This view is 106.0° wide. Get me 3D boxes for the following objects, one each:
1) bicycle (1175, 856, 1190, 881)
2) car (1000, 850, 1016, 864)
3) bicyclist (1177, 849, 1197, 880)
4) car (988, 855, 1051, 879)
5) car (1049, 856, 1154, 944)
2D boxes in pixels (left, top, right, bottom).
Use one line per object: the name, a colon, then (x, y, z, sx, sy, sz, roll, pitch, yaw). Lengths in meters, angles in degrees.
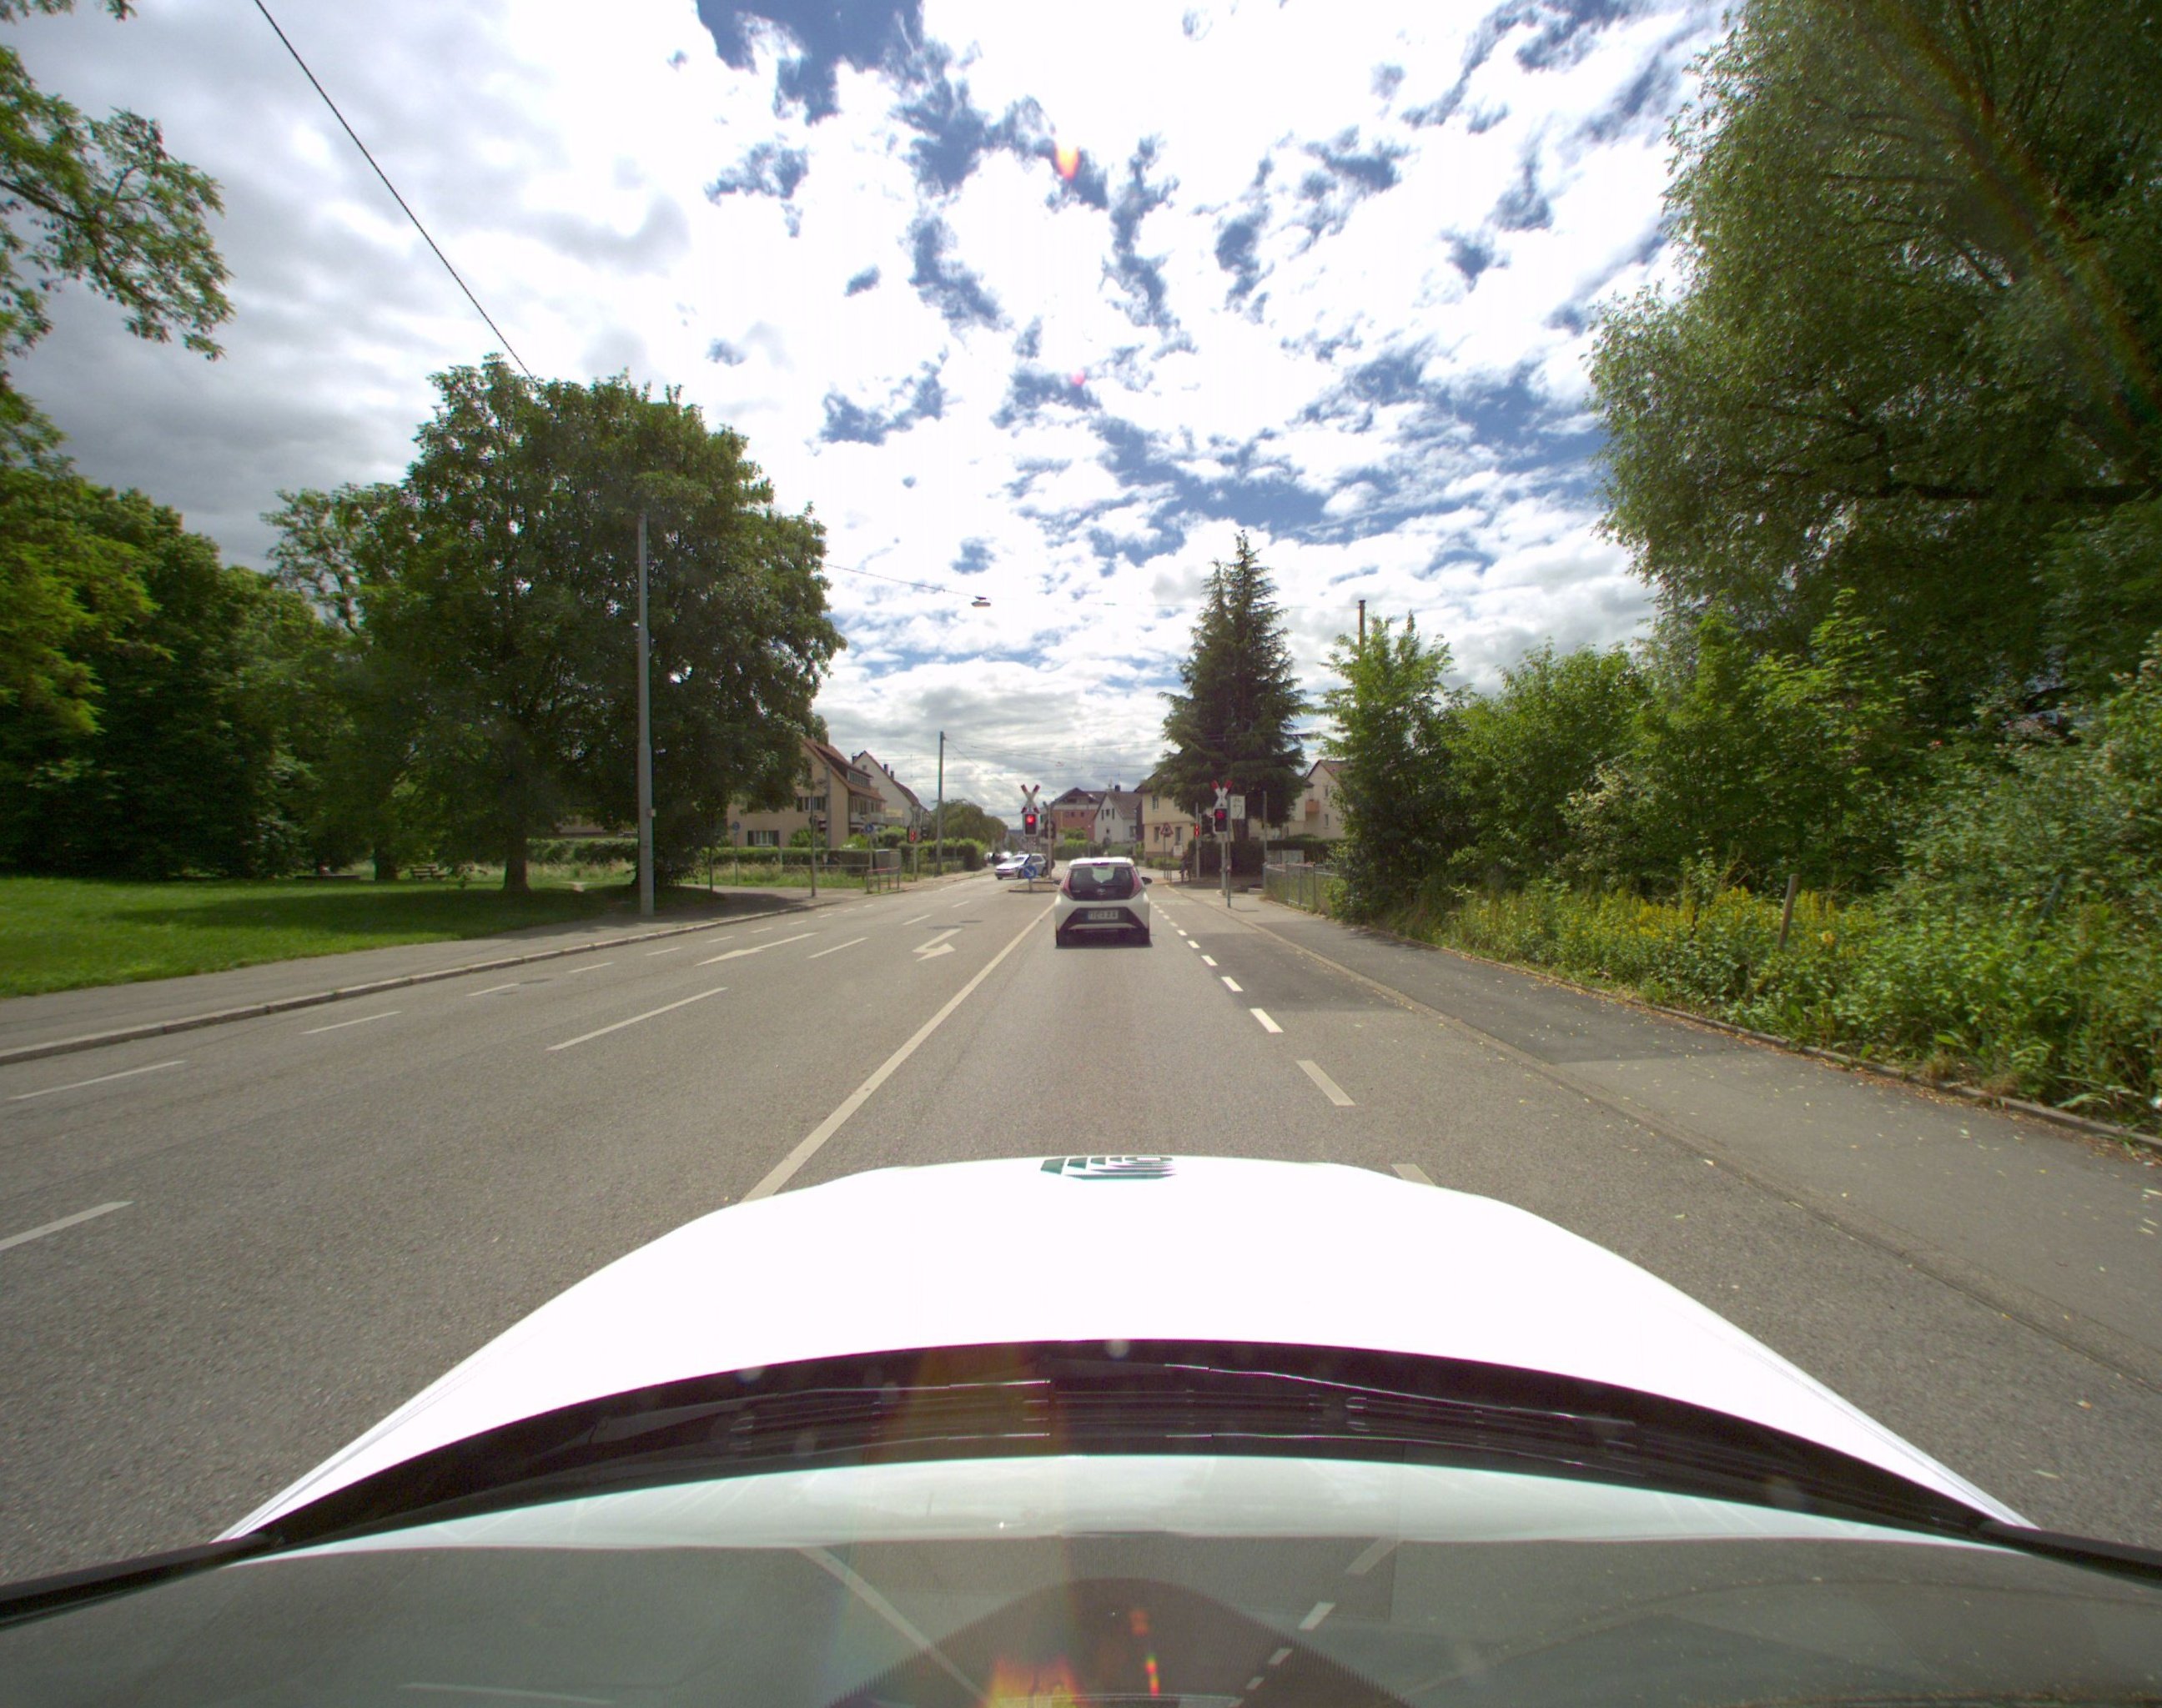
bicycle: (5.289, 0.744, 42.365, 0.456, 1.172, 1.477, -4, 2, -4)
car: (-9.115, 0.391, 101.849, 1.990, 1.719, 3.994, 0, 0, -4)
bicyclist: (5.497, 0.536, 42.242, 0.839, 1.553, 0.755, -4, 2, -4)
car: (-3.785, 0.777, 50.737, 1.887, 1.441, 4.124, 0, 0, 30)
car: (0.289, 0.755, 15.151, 1.716, 1.442, 3.706, 0, 0, -2)
